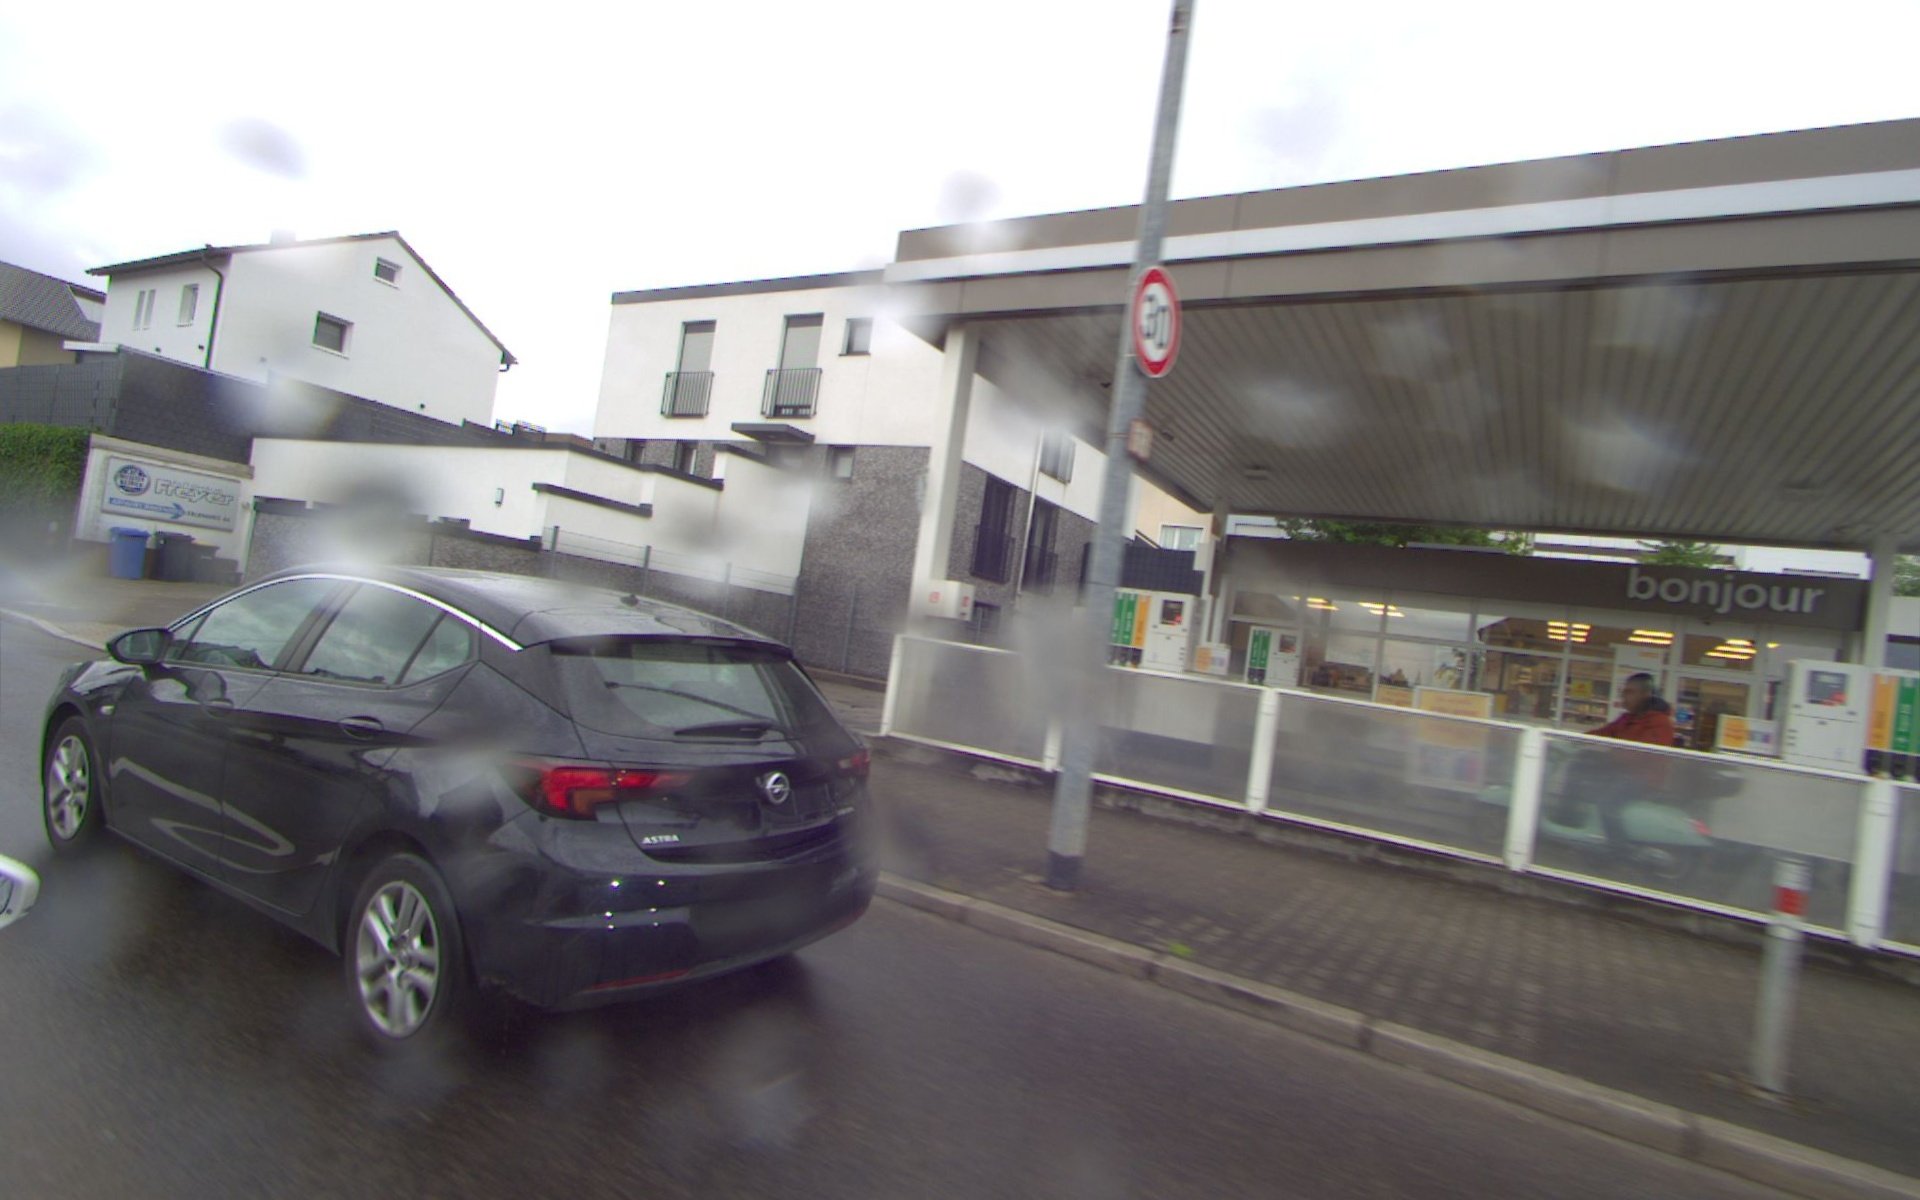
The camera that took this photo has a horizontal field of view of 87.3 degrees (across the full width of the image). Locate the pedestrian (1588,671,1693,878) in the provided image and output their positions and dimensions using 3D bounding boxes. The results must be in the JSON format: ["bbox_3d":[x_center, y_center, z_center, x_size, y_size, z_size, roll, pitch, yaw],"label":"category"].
[{"bbox_3d":[5.976,1.508,8.867,0.576,1.675,0.611,7,-1,32],"label":"pedestrian"}]

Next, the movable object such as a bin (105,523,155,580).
[{"bbox_3d":[-17.871,-1.044,21.657,0.656,1.119,0.596,7,2,31],"label":"movable object such as a bin"}]

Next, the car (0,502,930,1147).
[{"bbox_3d":[-2.313,0.547,4.323,3.934,1.466,1.759,6,-2,32],"label":"car"}]

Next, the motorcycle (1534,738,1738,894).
[{"bbox_3d":[5.925,1.863,8.894,1.367,1.067,0.463,6,-1,32],"label":"motorcycle"}]
